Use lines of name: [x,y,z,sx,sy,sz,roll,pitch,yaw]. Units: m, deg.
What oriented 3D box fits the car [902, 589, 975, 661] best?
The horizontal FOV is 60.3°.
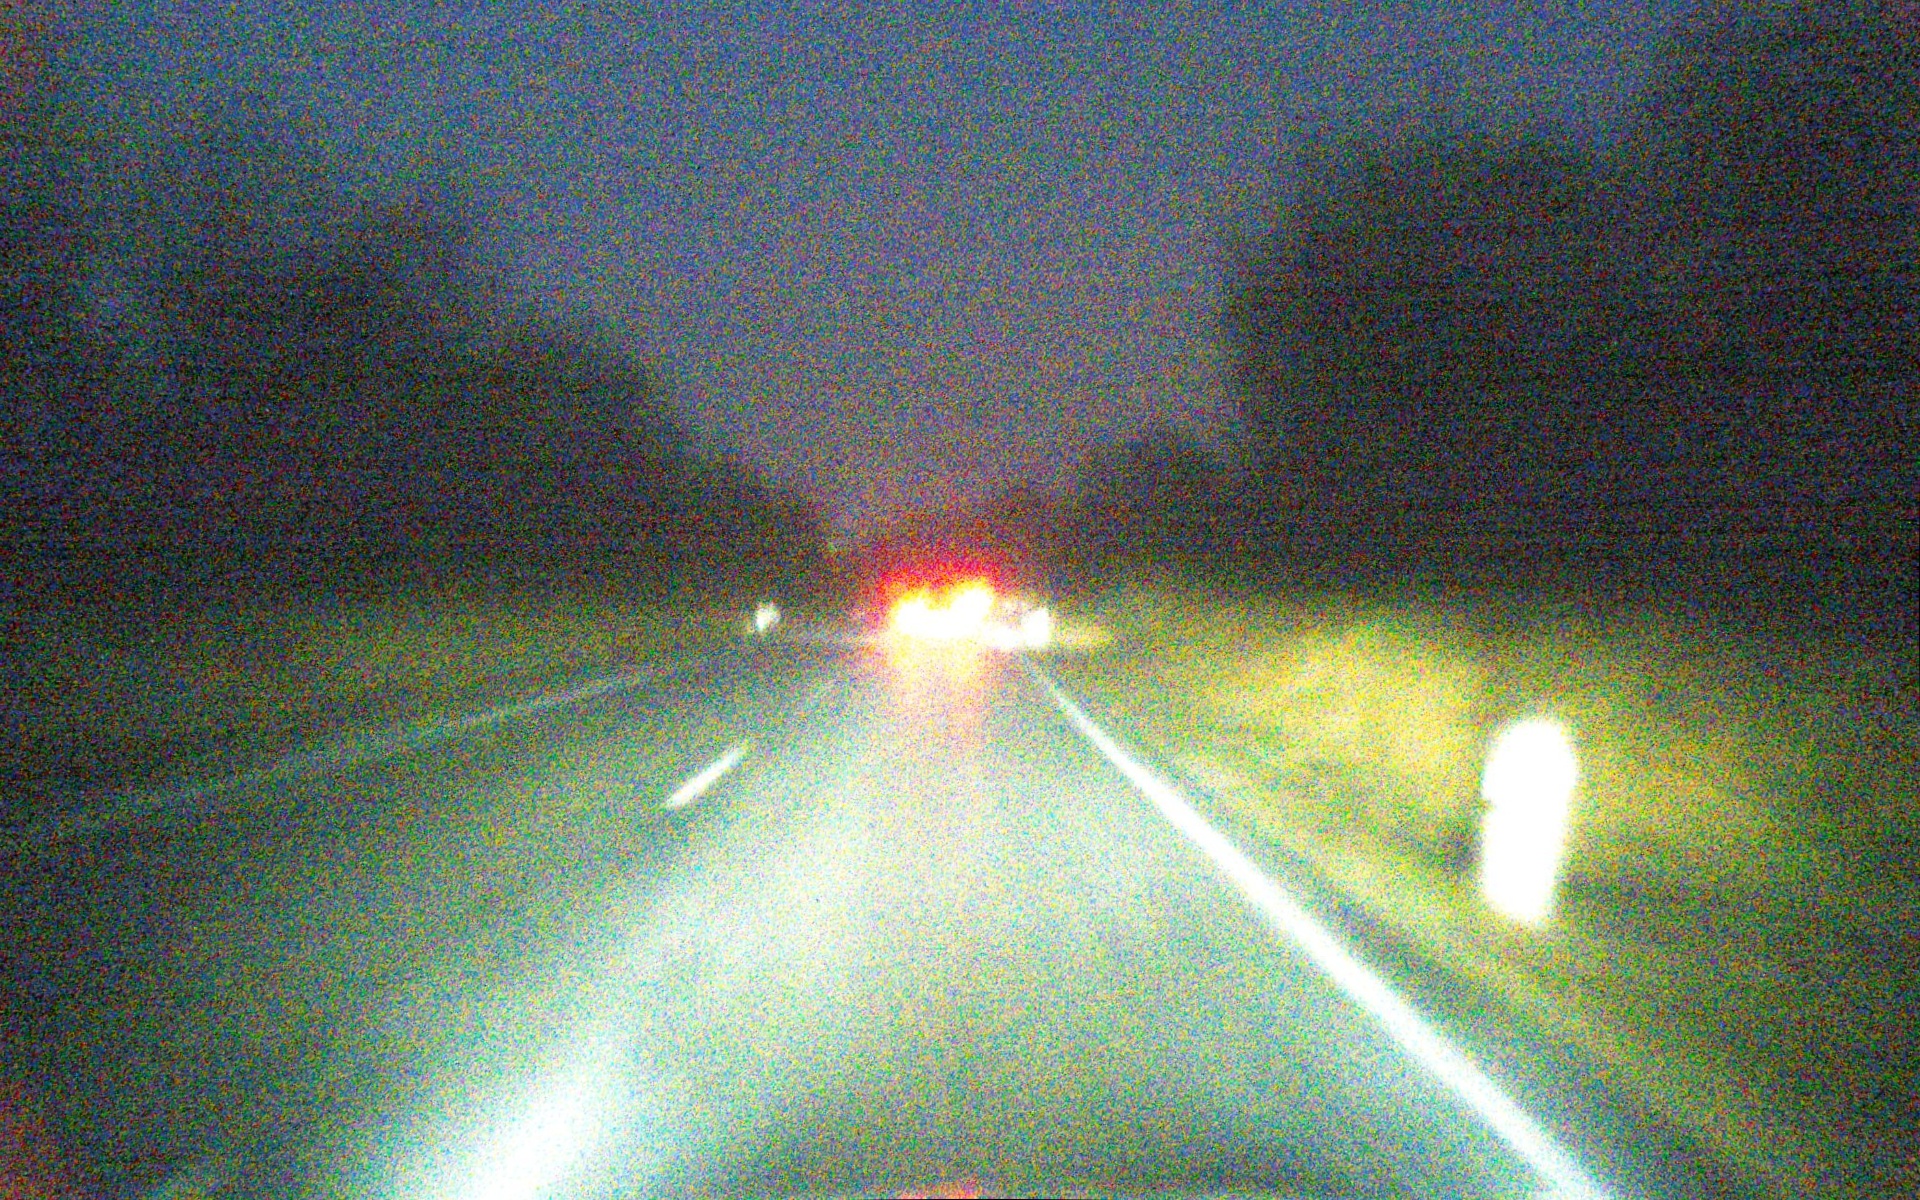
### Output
car: [-0.530,0.610,43.153,1.804,1.771,4.000,0,0,0]
